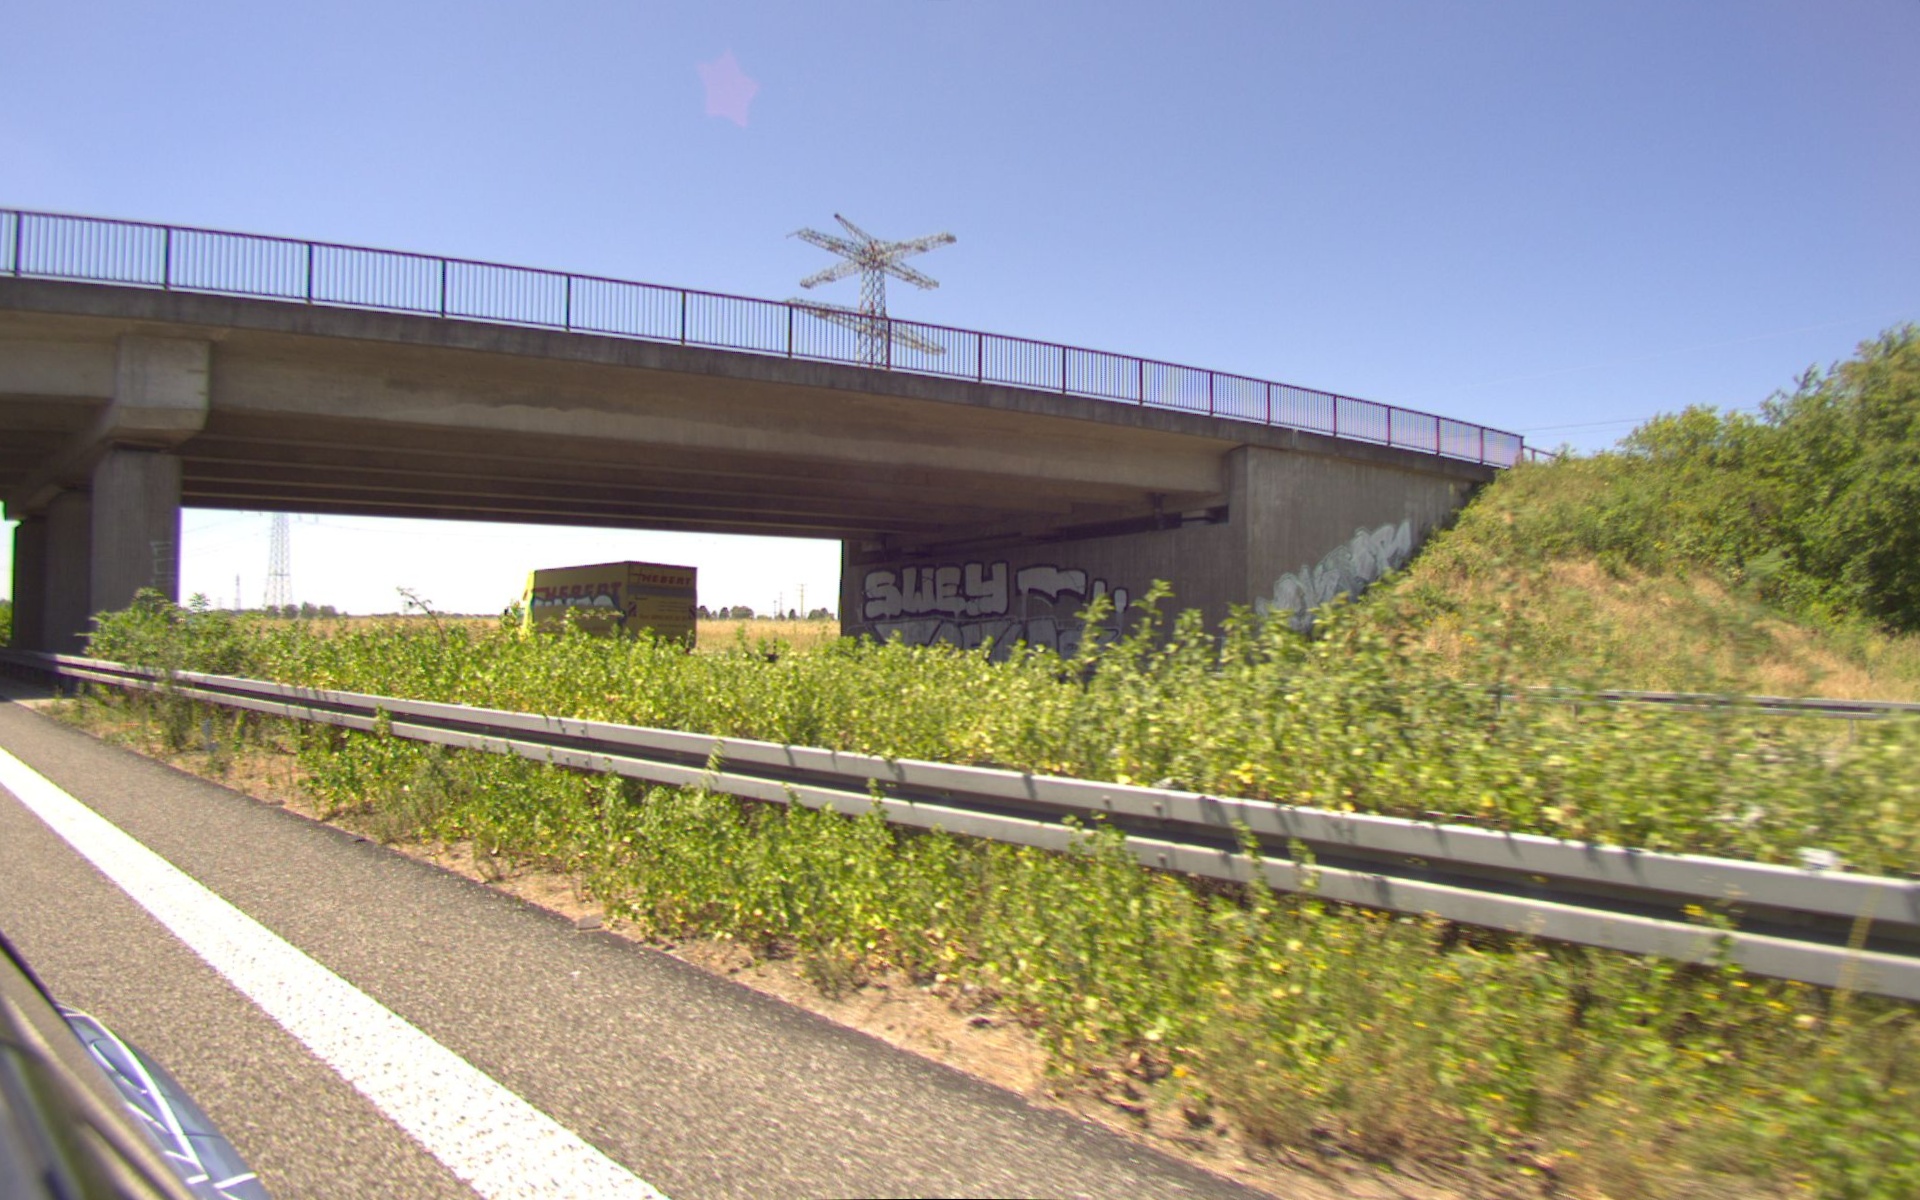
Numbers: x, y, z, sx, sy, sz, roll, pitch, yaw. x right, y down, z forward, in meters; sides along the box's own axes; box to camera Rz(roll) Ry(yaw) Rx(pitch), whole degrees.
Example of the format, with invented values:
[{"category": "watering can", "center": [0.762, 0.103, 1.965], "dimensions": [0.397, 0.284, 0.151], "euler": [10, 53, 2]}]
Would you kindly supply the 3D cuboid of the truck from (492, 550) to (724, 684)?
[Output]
[{"category": "truck", "center": [-11.851, 0.540, 33.572], "dimensions": [8.658, 3.892, 3.475], "euler": [-1, -1, 42]}]
